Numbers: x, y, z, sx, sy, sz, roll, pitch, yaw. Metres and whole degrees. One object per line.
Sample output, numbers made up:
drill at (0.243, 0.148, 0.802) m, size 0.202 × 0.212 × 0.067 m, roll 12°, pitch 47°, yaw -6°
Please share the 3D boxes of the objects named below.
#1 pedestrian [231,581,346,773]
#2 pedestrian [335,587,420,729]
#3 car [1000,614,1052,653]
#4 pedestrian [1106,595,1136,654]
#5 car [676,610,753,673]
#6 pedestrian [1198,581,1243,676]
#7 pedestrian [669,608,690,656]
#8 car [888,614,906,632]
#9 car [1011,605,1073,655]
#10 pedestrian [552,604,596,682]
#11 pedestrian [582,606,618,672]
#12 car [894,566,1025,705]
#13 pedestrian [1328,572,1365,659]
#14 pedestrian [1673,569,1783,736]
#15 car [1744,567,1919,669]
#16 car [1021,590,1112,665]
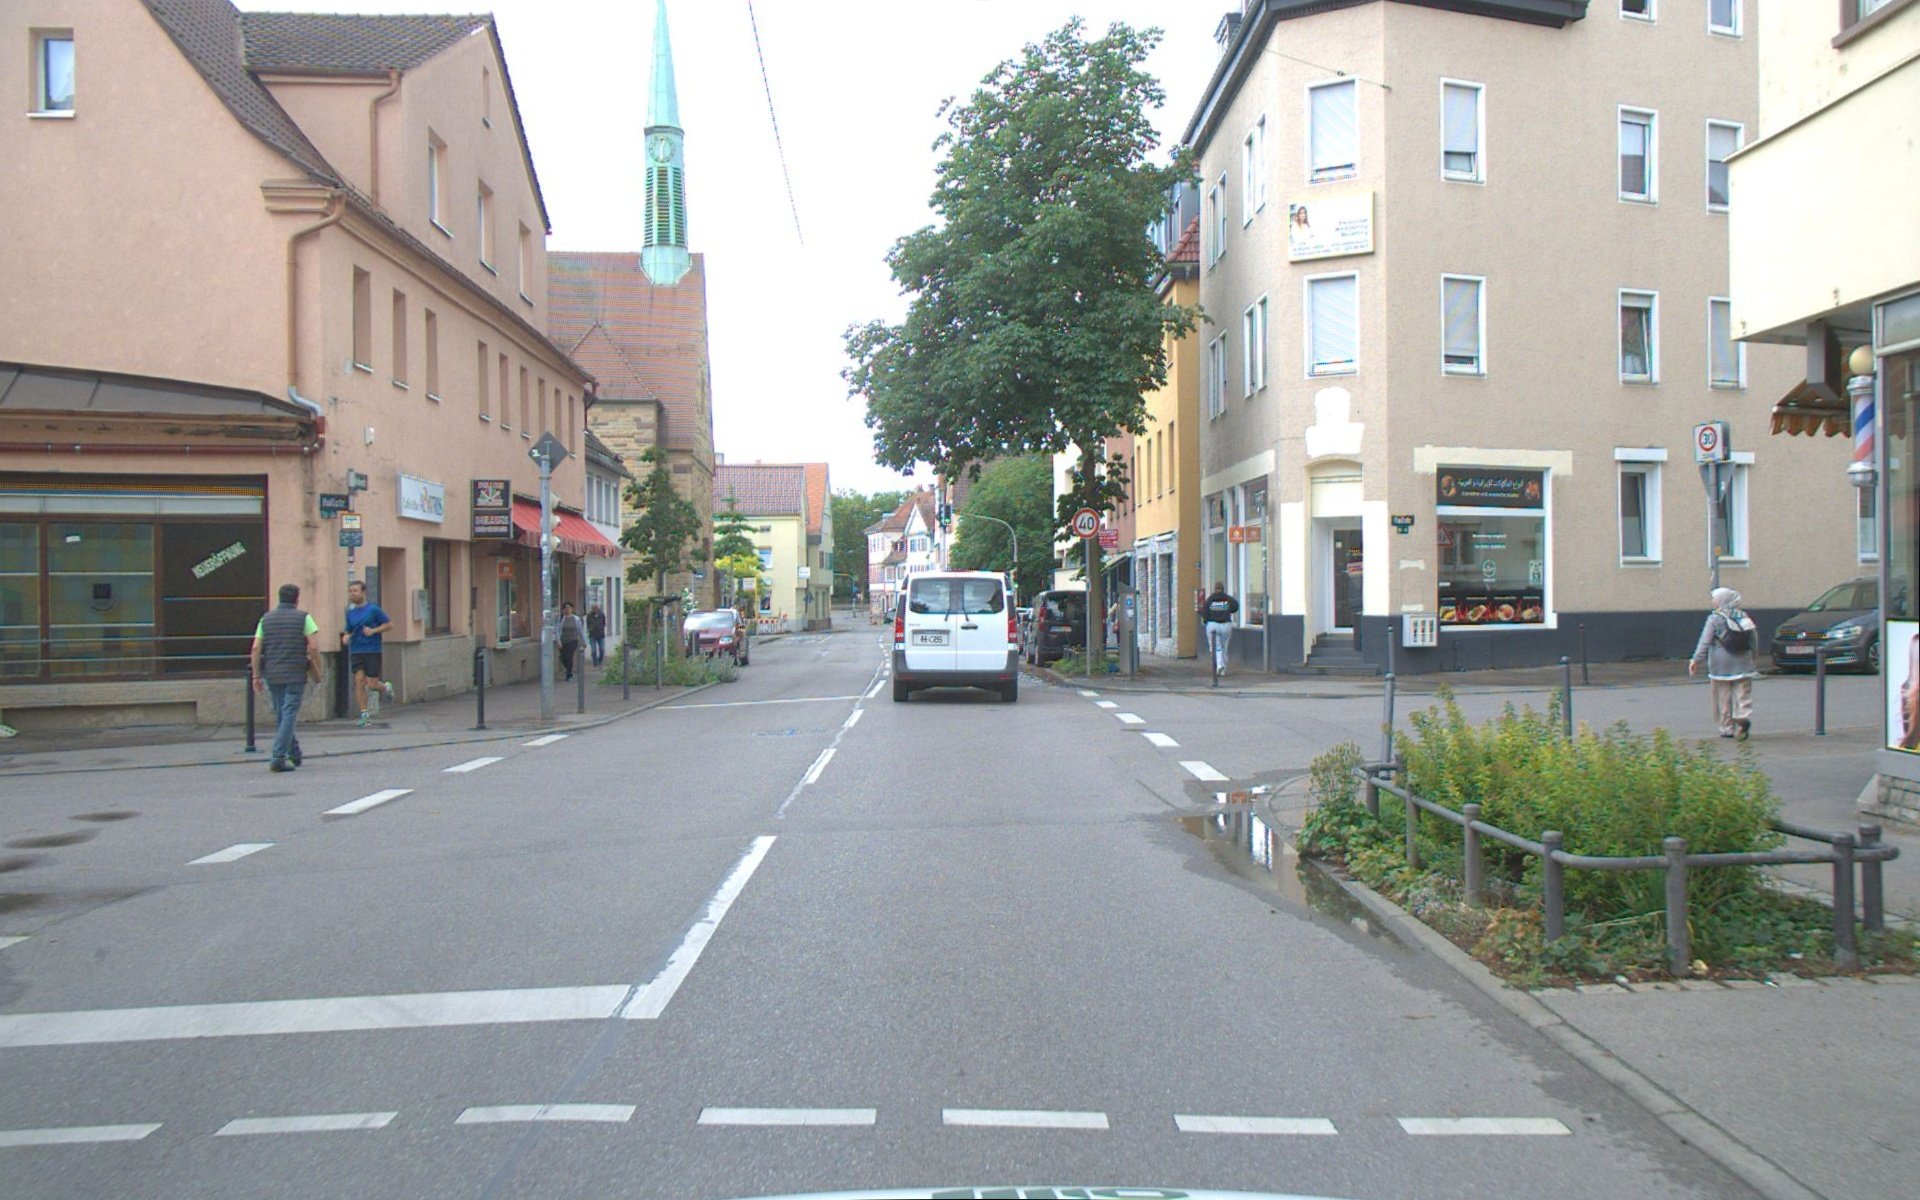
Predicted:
pedestrian at (-6.427, 0.719, 15.883) m, size 0.724 × 1.785 × 0.982 m, roll 0°, pitch 0°, yaw -3°
pedestrian at (-7.352, 0.709, 20.932) m, size 0.724 × 1.748 × 1.155 m, roll 0°, pitch 0°, yaw -4°
car at (2.337, 1.198, 59.450) m, size 1.520 × 1.356 × 3.809 m, roll 0°, pitch -1°, yaw -3°
pedestrian at (4.648, 0.710, 47.818) m, size 0.687 × 1.678 × 0.888 m, roll -2°, pitch 0°, yaw -3°
car at (-6.949, 1.148, 47.160) m, size 1.669 × 1.601 × 4.448 m, roll -3°, pitch 0°, yaw -3°
pedestrian at (4.693, 0.515, 29.881) m, size 0.602 × 1.682 × 0.982 m, roll -1°, pitch 0°, yaw -3°
pedestrian at (-9.354, 1.062, 55.108) m, size 0.559 × 1.582 × 0.696 m, roll 1°, pitch -1°, yaw -2°
car at (-6.976, 2.540, 182.697) m, size 1.896 × 2.049 × 3.997 m, roll 0°, pitch -1°, yaw -3°
car at (2.650, 0.963, 54.288) m, size 1.570 × 1.545 × 4.206 m, roll -1°, pitch -1°, yaw -3°
pedestrian at (-7.920, 0.871, 33.954) m, size 0.724 × 1.562 × 0.982 m, roll 0°, pitch 0°, yaw -3°
pedestrian at (-9.169, 0.974, 42.108) m, size 0.721 × 1.657 × 0.752 m, roll 0°, pitch 0°, yaw -26°
car at (-0.047, 0.505, 25.343) m, size 1.835 × 1.945 × 3.999 m, roll 0°, pitch 0°, yaw -1°
pedestrian at (7.184, 0.286, 30.727) m, size 0.555 × 1.588 × 0.520 m, roll 0°, pitch -1°, yaw -2°
pedestrian at (8.018, 0.537, 17.273) m, size 0.669 × 1.693 × 0.790 m, roll -1°, pitch -1°, yaw -38°
car at (15.781, 0.329, 28.461) m, size 4.162 × 1.650 × 1.873 m, roll 1°, pitch -1°, yaw -23°
car at (2.658, 0.704, 42.341) m, size 1.783 × 1.812 × 4.399 m, roll 0°, pitch -1°, yaw -4°
